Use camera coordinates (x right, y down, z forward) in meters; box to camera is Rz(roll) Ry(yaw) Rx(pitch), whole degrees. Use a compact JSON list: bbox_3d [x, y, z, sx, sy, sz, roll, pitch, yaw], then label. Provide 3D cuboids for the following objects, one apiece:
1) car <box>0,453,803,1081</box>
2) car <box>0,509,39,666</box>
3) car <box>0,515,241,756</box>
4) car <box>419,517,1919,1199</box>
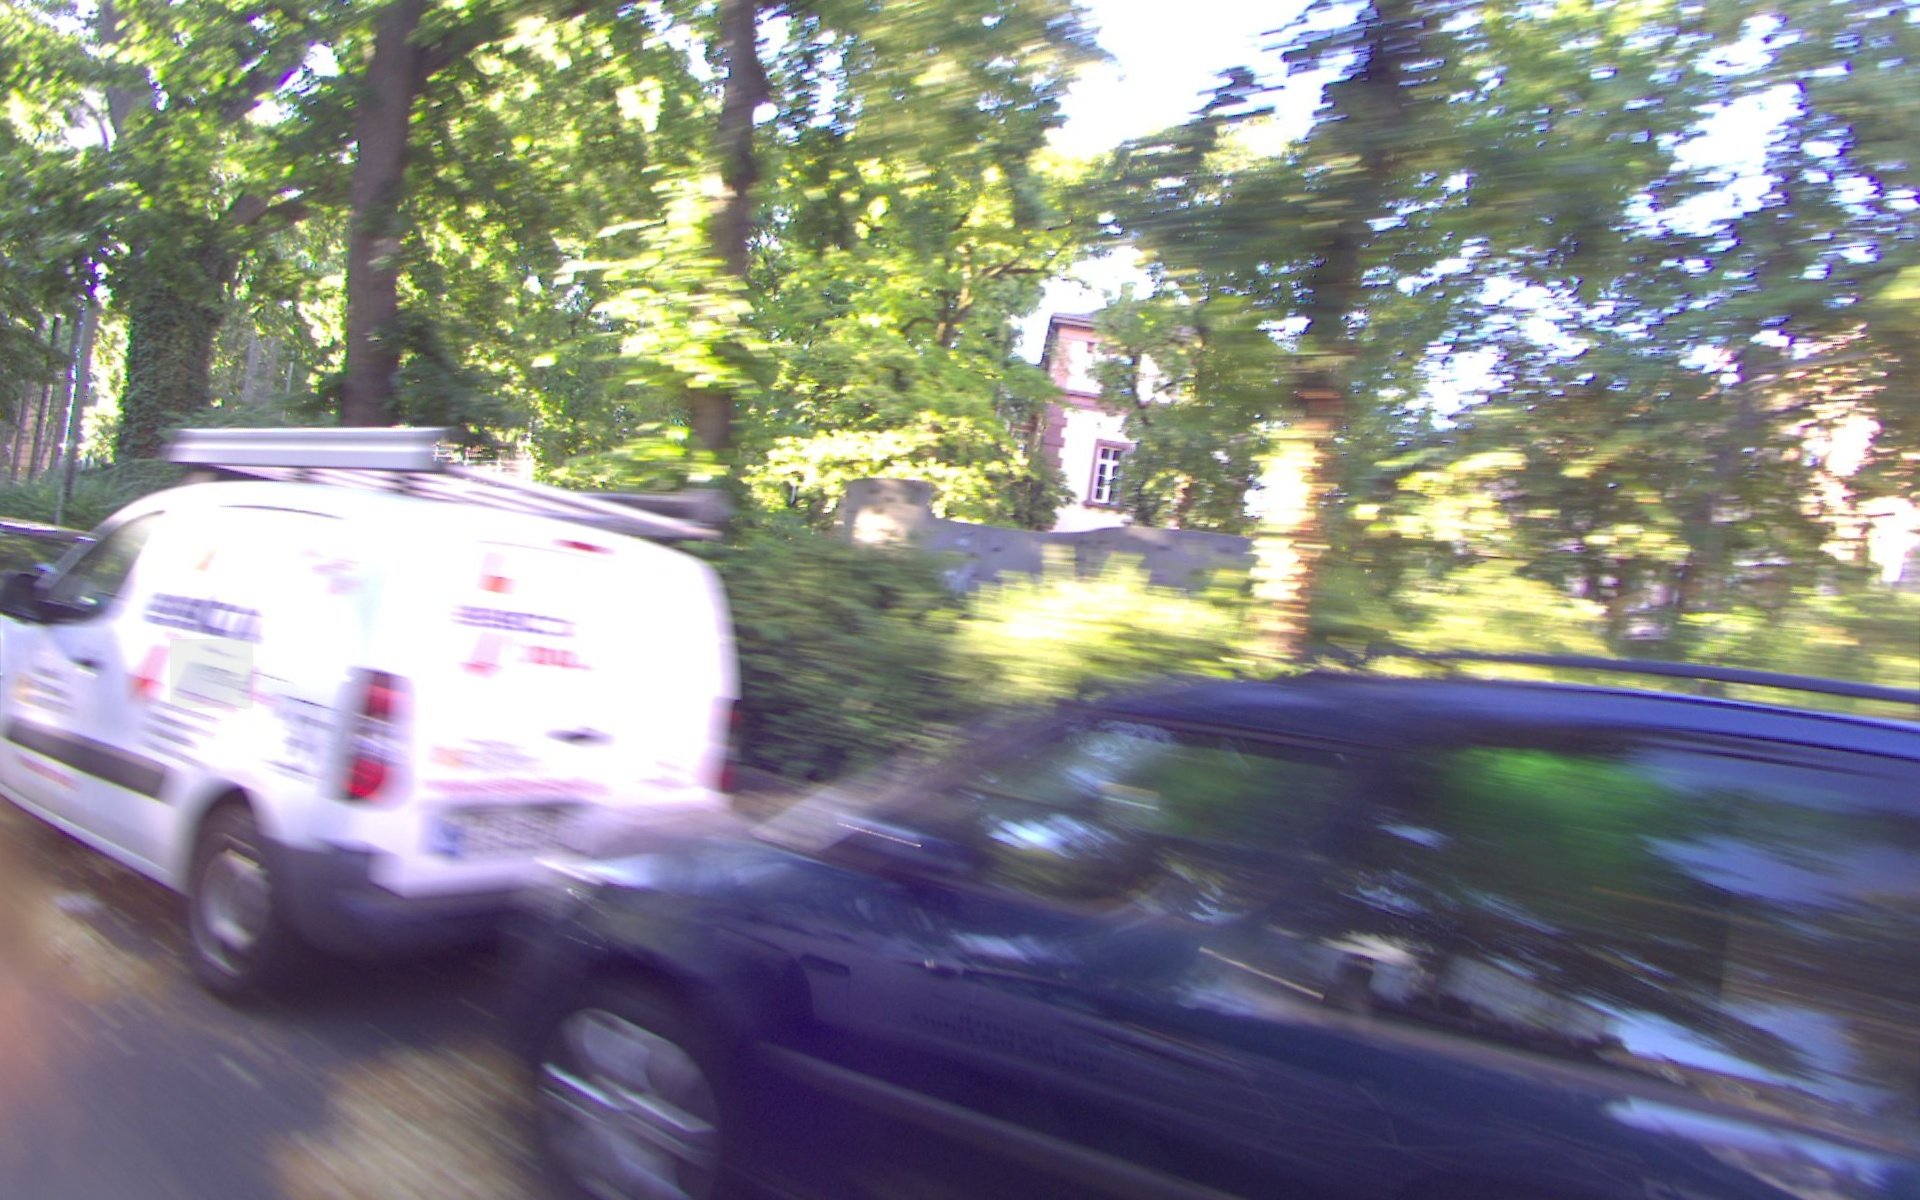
[{"bbox_3d":[-3.073,0.396,4.784,4.304,1.727,1.791,7,-2,32],"label":"car"},{"bbox_3d":[-11.027,-0.376,10.047,3.830,1.475,1.675,7,-2,33],"label":"car"},{"bbox_3d":[-7.337,0.076,7.502,4.196,1.406,1.675,7,-2,33],"label":"car"},{"bbox_3d":[0.643,0.864,2.505,3.829,1.633,1.571,7,-2,30],"label":"car"}]
